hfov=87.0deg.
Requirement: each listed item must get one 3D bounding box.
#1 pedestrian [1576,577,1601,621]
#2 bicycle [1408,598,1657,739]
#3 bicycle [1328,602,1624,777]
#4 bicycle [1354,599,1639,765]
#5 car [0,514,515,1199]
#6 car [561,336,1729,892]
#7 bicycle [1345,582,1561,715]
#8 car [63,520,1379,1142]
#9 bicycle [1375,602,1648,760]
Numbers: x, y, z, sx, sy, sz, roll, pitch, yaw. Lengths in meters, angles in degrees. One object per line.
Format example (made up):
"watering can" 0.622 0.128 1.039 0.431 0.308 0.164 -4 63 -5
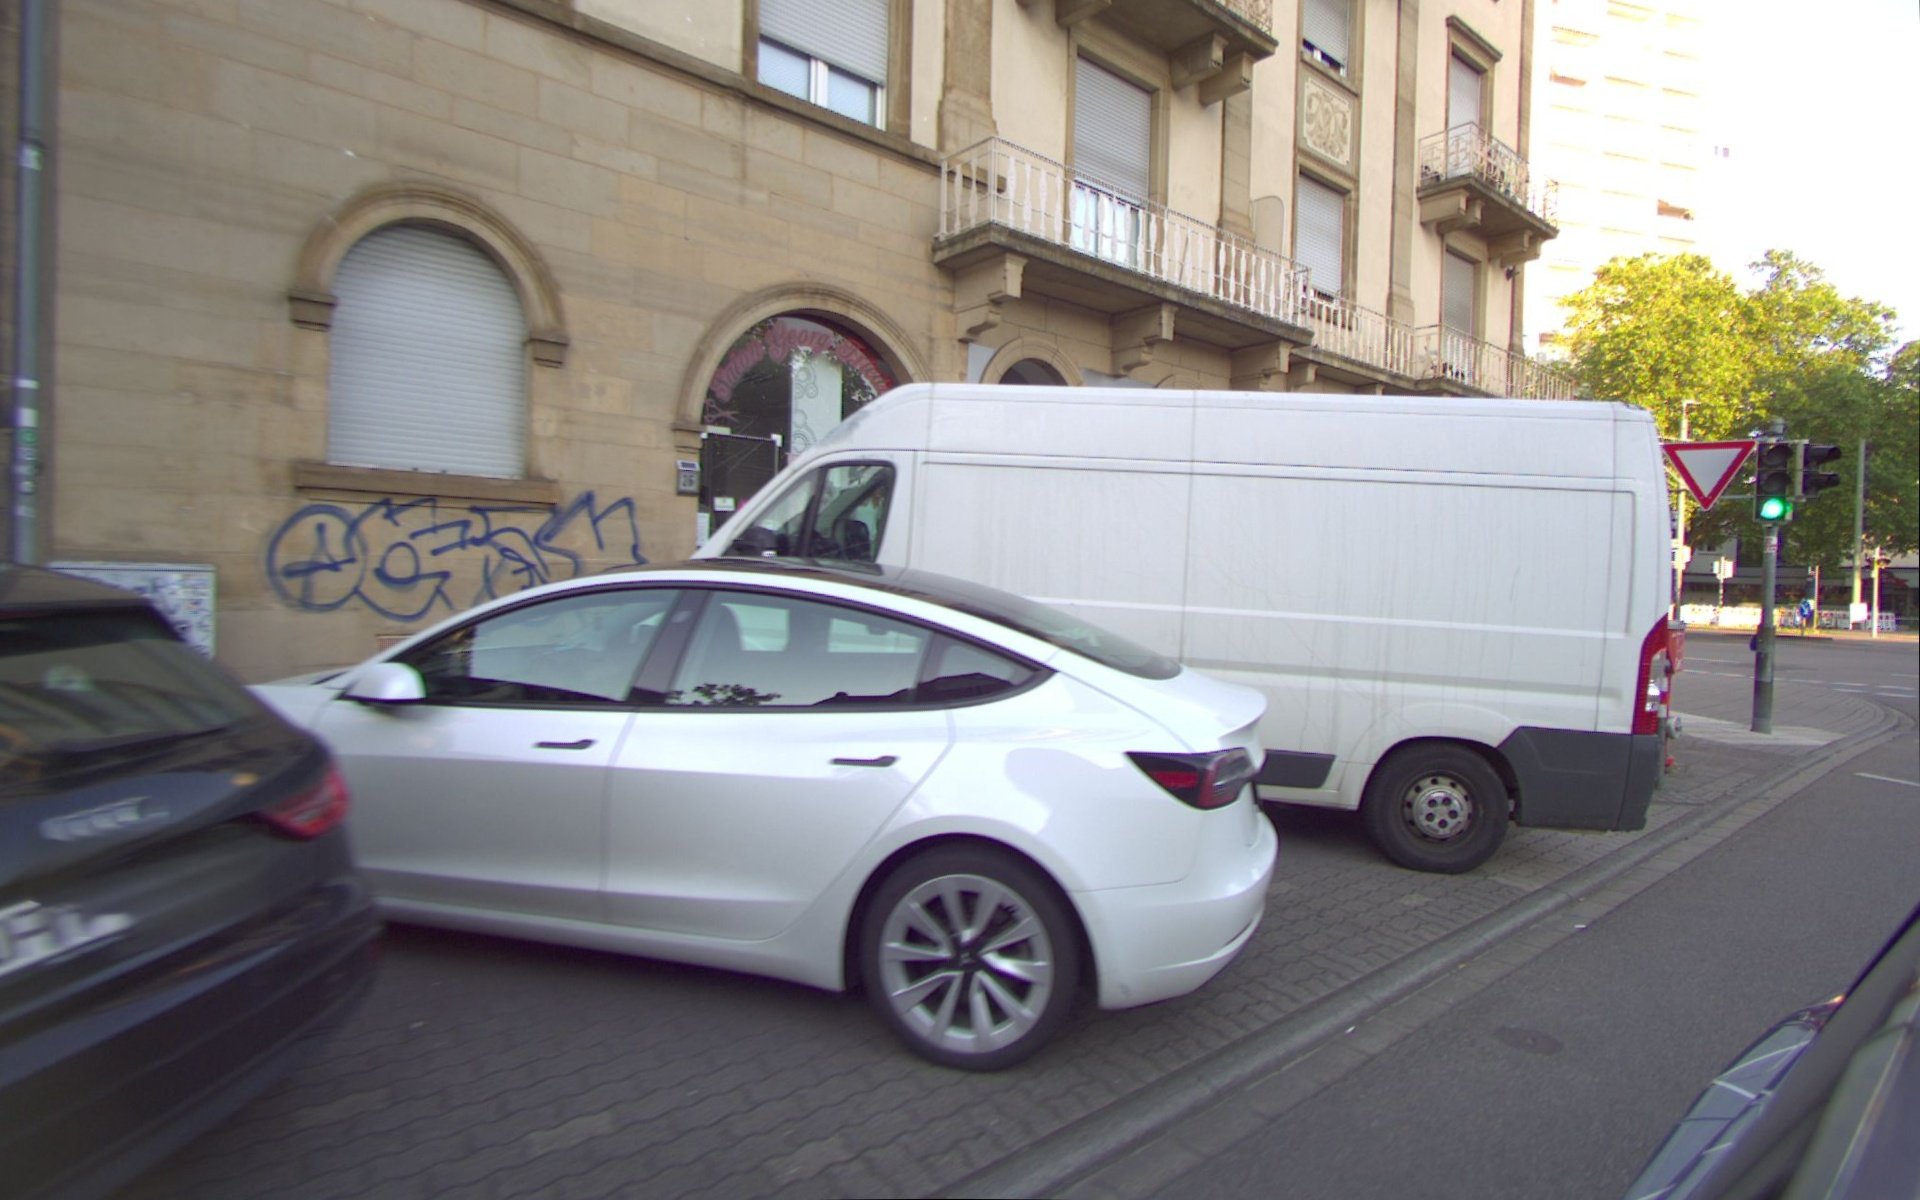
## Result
"pedestrian" 23.964 -0.043 38.583 0.652 1.677 0.540 1 1 16
"bicycle" 5.541 0.613 9.897 1.995 1.100 0.533 6 4 42
"bicycle" 4.085 0.647 8.149 1.995 1.100 0.533 6 4 42
"bicycle" 4.465 0.626 8.554 1.995 1.100 0.533 6 4 42
"car" -3.286 0.520 2.234 3.854 1.463 1.870 3 4 11
"car" 0.789 -0.104 6.263 5.789 2.582 2.192 2 4 10
"bicycle" 5.379 0.479 11.177 0.635 1.215 2.001 1 4 -40
"car" -0.824 0.517 3.987 4.189 1.471 1.994 3 3 12
"bicycle" 4.831 0.656 8.982 1.995 1.100 0.533 6 4 42
